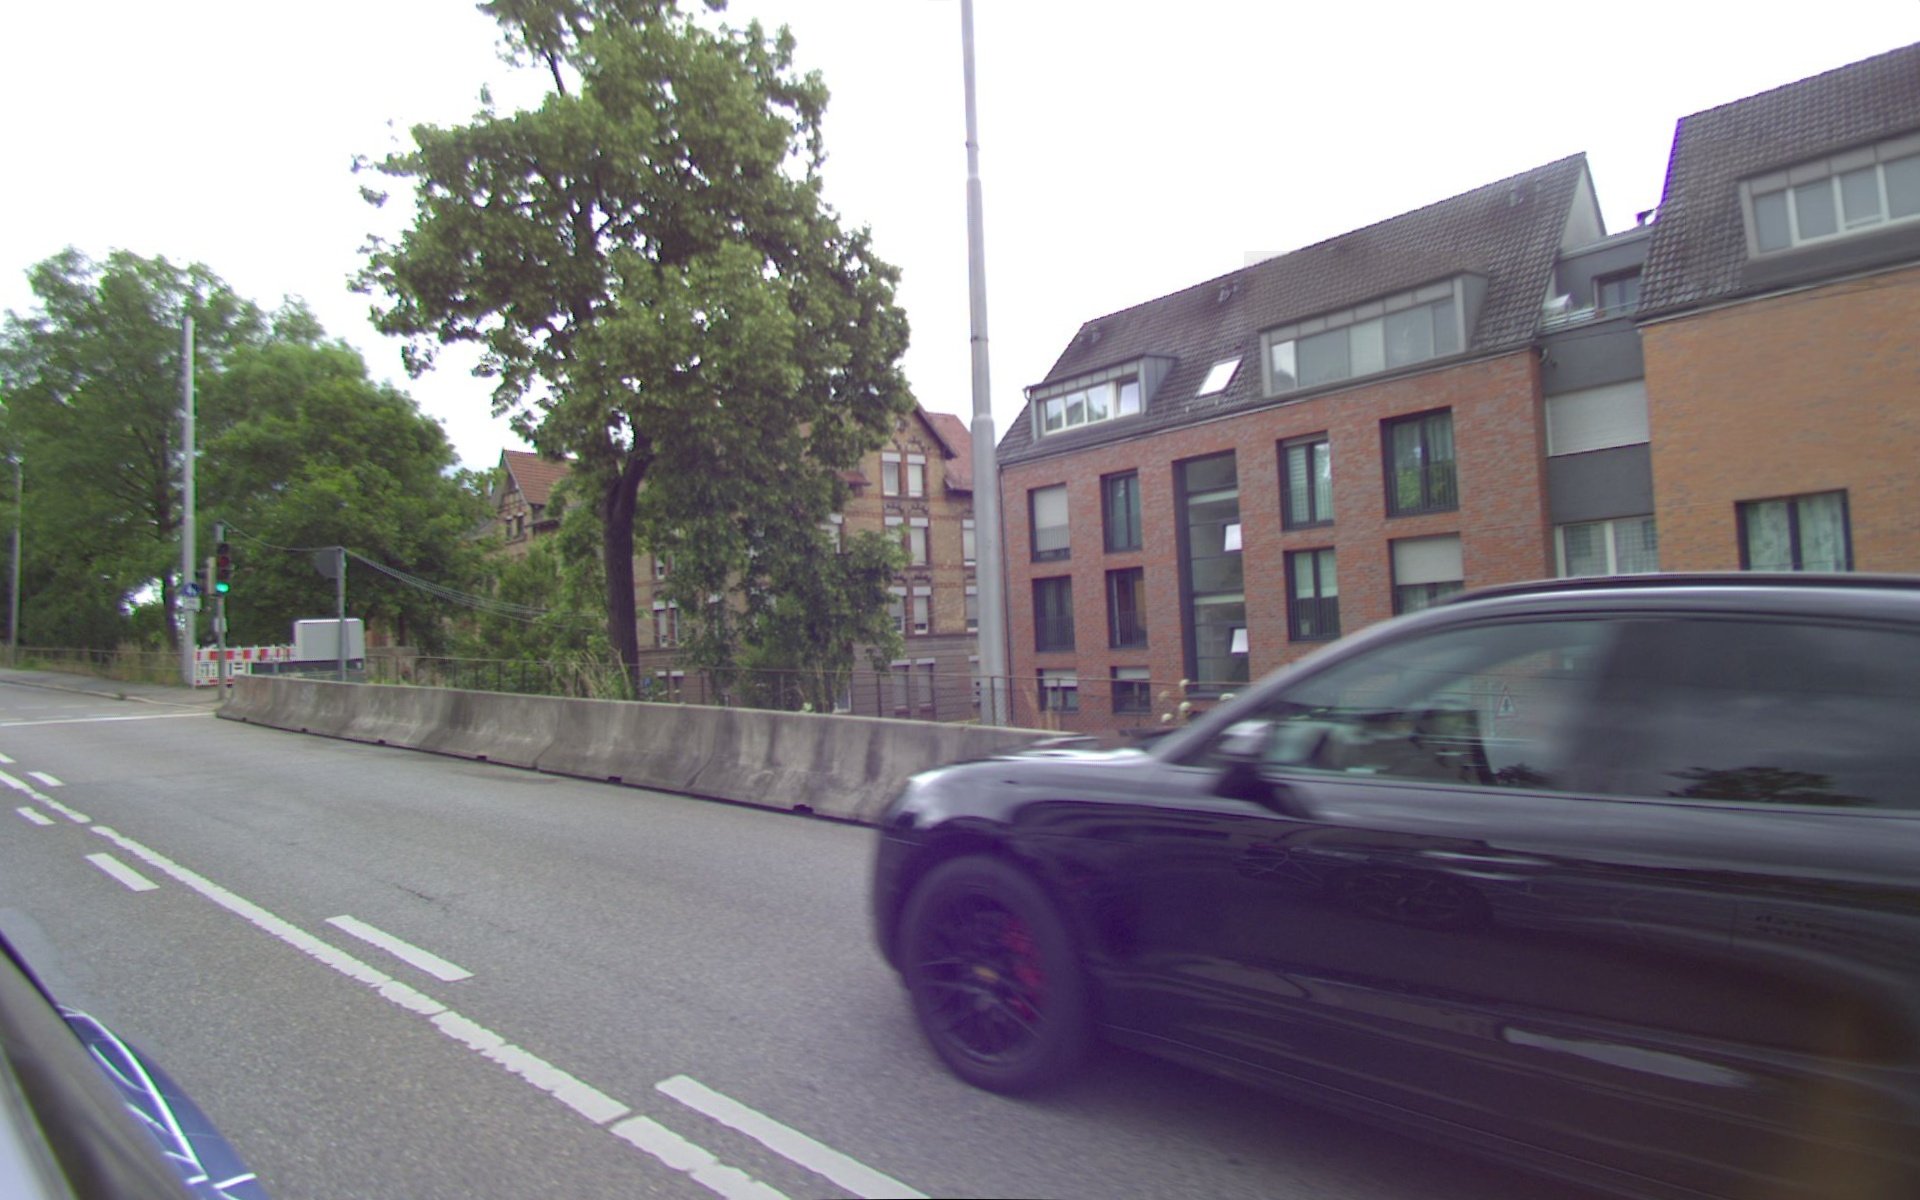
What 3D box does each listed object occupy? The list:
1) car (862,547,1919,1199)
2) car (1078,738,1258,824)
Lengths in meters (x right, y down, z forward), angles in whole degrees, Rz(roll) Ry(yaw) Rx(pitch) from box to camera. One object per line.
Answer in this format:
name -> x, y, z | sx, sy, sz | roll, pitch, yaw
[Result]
car -> 1.939, 0.759, 2.829 | 4.372, 1.587, 1.961 | -3, -4, 41
car -> 4.969, 4.310, 24.586 | 1.773, 1.522, 4.003 | 3, -4, -44
